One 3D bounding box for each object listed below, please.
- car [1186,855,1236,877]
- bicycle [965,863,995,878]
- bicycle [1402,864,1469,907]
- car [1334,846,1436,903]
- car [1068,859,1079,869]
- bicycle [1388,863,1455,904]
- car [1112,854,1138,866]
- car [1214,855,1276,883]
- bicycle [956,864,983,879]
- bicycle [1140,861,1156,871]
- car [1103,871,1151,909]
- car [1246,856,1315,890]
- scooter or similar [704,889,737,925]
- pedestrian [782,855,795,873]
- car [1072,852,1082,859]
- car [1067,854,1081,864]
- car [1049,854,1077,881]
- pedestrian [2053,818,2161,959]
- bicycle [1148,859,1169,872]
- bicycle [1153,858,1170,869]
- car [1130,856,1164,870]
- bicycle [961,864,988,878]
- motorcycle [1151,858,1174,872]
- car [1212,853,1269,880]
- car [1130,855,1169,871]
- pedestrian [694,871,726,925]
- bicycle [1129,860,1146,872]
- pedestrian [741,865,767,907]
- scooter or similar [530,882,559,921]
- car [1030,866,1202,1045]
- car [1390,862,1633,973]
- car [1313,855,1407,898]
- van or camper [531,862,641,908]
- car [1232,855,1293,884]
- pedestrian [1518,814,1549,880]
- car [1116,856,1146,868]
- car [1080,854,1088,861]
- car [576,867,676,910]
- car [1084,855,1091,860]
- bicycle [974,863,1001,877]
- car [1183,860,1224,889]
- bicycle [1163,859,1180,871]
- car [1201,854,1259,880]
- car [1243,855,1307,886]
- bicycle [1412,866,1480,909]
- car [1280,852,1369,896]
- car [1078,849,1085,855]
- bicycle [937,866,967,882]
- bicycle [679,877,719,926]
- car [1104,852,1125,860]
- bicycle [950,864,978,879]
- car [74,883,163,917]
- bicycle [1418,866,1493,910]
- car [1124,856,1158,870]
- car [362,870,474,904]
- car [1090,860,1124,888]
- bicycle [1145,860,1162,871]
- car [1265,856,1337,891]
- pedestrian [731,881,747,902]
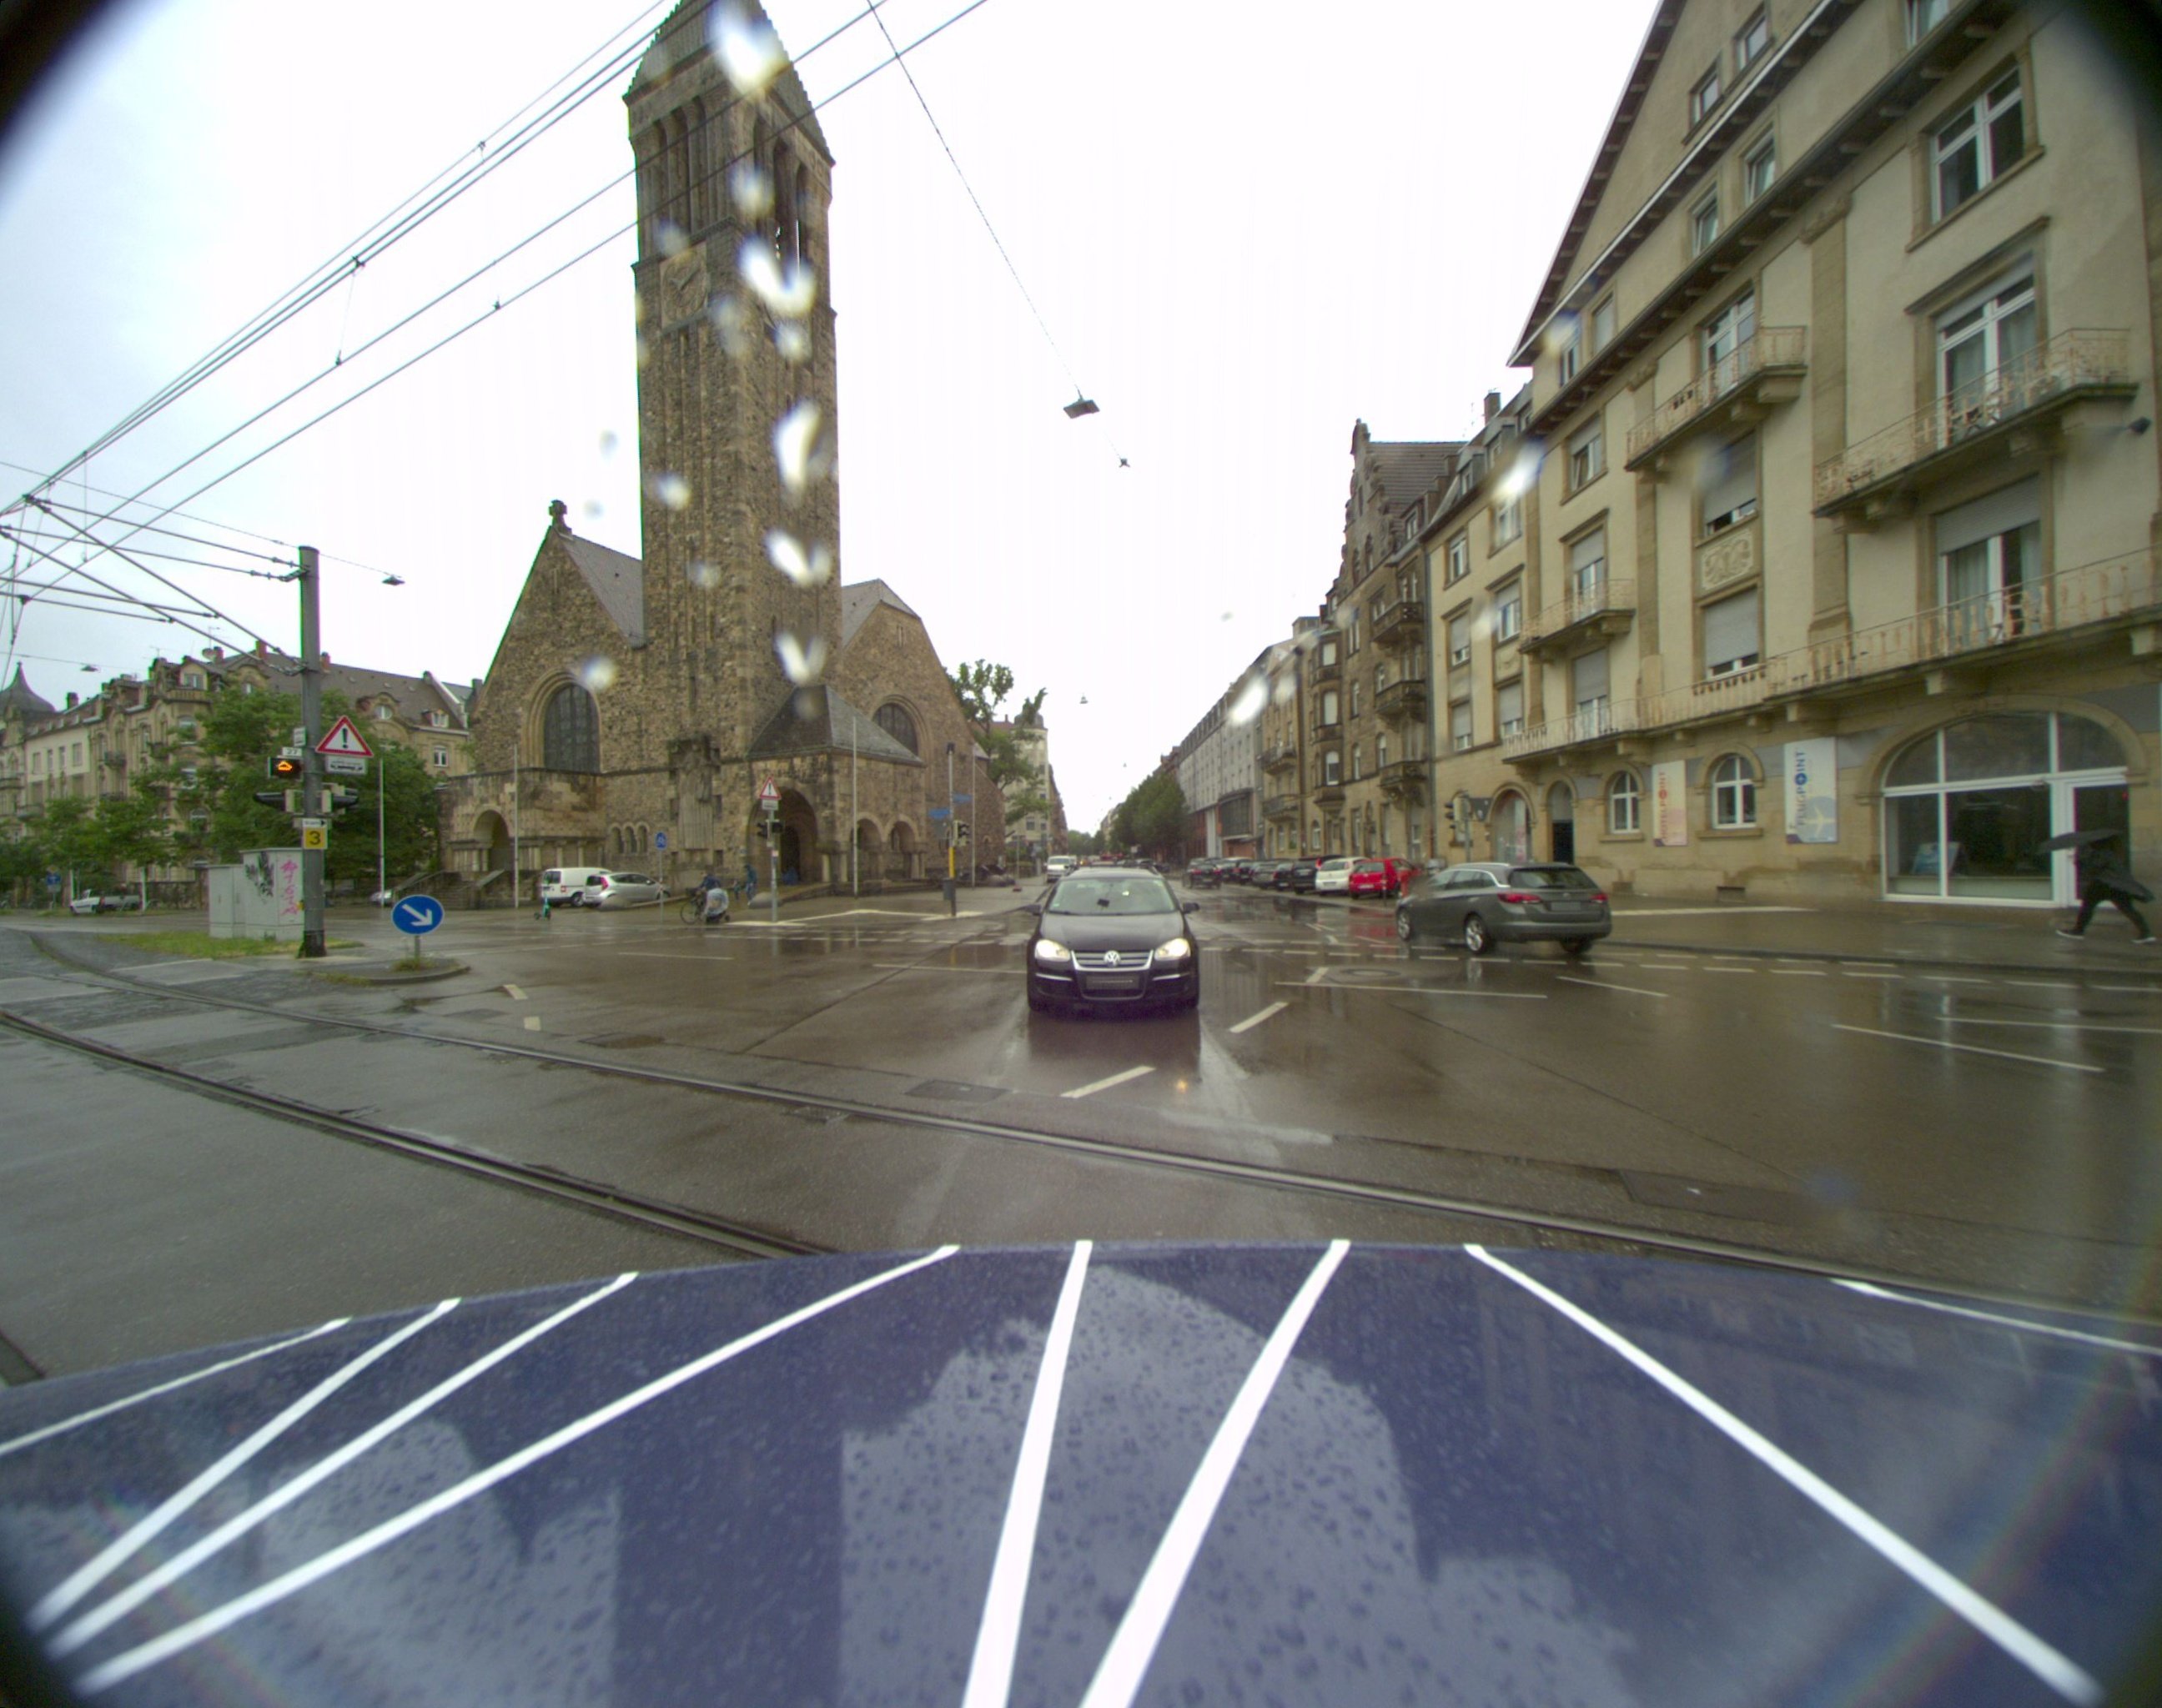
[{"bbox_3d":[10.441,0.938,60.888,3.931,1.719,1.811,-1,0,-41],"label":"car"},{"bbox_3d":[-7.424,1.220,55.862,2.150,1.054,0.679,0,0,22],"label":"bicycle"},{"bbox_3d":[11.282,1.004,24.191,1.815,1.178,0.475,-5,1,-1],"label":"bicycle"},{"bbox_3d":[11.305,0.725,28.148,4.005,1.499,1.800,-8,0,-42],"label":"car"},{"bbox_3d":[-0.973,1.345,102.305,1.356,1.285,3.013,-1,0,0],"label":"car"},{"bbox_3d":[11.233,0.984,25.115,1.814,1.177,0.600,-5,0,6],"label":"bicycle"},{"bbox_3d":[7.492,1.004,129.041,4.006,2.002,1.995,-1,0,-28],"label":"car"},{"bbox_3d":[10.593,0.967,49.098,3.733,1.535,1.774,-3,0,-35],"label":"car"},{"bbox_3d":[-8.006,1.221,54.493,1.923,1.054,0.582,0,0,22],"label":"bicycle"},{"bbox_3d":[7.392,1.274,83.572,1.688,1.066,0.544,-1,1,-3],"label":"bicycle"},{"bbox_3d":[1.610,1.273,27.776,1.547,1.214,3.608,-1,0,0],"label":"car"},{"bbox_3d":[10.489,0.996,39.900,3.435,1.535,1.697,-3,0,-39],"label":"car"},{"bbox_3d":[-11.286,1.655,23.804,0.514,1.042,0.924,-1,0,3],"label":"scooter or similar"},{"bbox_3d":[-15.166,0.516,39.356,0.395,0.879,0.457,-1,0,23],"label":"pedestrian"},{"bbox_3d":[-0.960,0.444,187.688,1.998,1.705,3.803,-1,0,4],"label":"car"},{"bbox_3d":[-0.994,0.683,110.265,1.921,1.470,4.220,-1,0,0],"label":"car"},{"bbox_3d":[-1.329,0.984,57.833,1.909,1.911,5.272,-1,0,0],"label":"car"},{"bbox_3d":[15.094,0.472,11.107,0.921,1.955,0.699,-3,3,-11],"label":"pedestrian"},{"bbox_3d":[8.035,1.181,78.847,2.049,1.165,0.773,-4,1,-3],"label":"bicycle"},{"bbox_3d":[8.560,1.008,80.569,1.688,1.066,0.544,-1,0,-3],"label":"bicycle"},{"bbox_3d":[8.049,1.107,92.692,3.803,1.705,1.998,-1,0,-10],"label":"car"},{"bbox_3d":[-7.766,1.233,55.260,1.923,1.054,0.582,0,0,22],"label":"bicycle"},{"bbox_3d":[8.347,1.118,77.879,2.255,1.302,0.758,-3,0,0],"label":"motorcycle"},{"bbox_3d":[11.029,0.879,52.358,3.734,1.617,1.774,-3,0,-38],"label":"car"},{"bbox_3d":[7.922,1.005,87.975,4.005,1.804,1.996,-1,0,-26],"label":"car"},{"bbox_3d":[-11.714,1.372,24.021,0.604,1.653,0.689,-1,0,3],"label":"pedestrian"},{"bbox_3d":[6.060,1.298,81.317,1.688,1.067,0.544,-6,1,-3],"label":"bicycle"},{"bbox_3d":[-13.356,1.290,31.027,0.632,1.693,0.679,-1,0,21],"label":"pedestrian"},{"bbox_3d":[-19.547,1.719,27.694,1.101,1.379,0.287,-1,0,23],"label":"scooter or similar"},{"bbox_3d":[0.329,0.953,8.932,1.547,1.553,4.070,-1,0,0],"label":"car"},{"bbox_3d":[7.099,0.931,13.126,1.731,1.537,4.340,-1,0,0],"label":"car"},{"bbox_3d":[11.395,0.883,30.906,4.001,1.524,1.700,-2,-1,-39],"label":"car"},{"bbox_3d":[-23.203,1.417,35.787,1.645,1.719,3.934,-1,4,24],"label":"van or camper"},{"bbox_3d":[11.025,0.935,46.103,3.765,1.535,1.624,-3,0,-40],"label":"car"},{"bbox_3d":[16.202,-0.242,27.221,0.846,2.326,0.765,-1,0,23],"label":"pedestrian"},{"bbox_3d":[7.148,1.160,108.660,3.803,1.705,1.998,-1,0,-10],"label":"car"},{"bbox_3d":[0.786,0.978,209.134,1.998,1.705,4.376,-1,0,4],"label":"car"},{"bbox_3d":[-20.338,1.493,34.097,1.732,1.565,3.362,-1,3,27],"label":"car"},{"bbox_3d":[1.953,1.028,223.657,1.998,1.705,4.376,-1,0,4],"label":"car"},{"bbox_3d":[-6.988,1.199,56.748,1.978,1.060,0.607,0,0,23],"label":"bicycle"},{"bbox_3d":[6.951,1.158,43.505,1.748,1.537,3.778,-1,0,0],"label":"car"},{"bbox_3d":[9.486,1.153,79.802,1.688,1.067,0.544,-4,1,-3],"label":"bicycle"},{"bbox_3d":[10.846,0.917,55.172,3.732,1.519,1.897,-5,2,-30],"label":"car"},{"bbox_3d":[11.074,0.948,43.226,3.449,1.535,1.624,-3,0,-36],"label":"car"},{"bbox_3d":[11.337,1.038,23.637,1.815,1.178,0.468,-5,1,-2],"label":"bicycle"},{"bbox_3d":[10.893,0.866,33.905,4.092,1.682,1.760,-3,0,-39],"label":"car"},{"bbox_3d":[0.085,-0.600,232.163,1.837,1.827,4.001,-1,0,4],"label":"car"},{"bbox_3d":[-8.994,1.384,52.906,2.005,1.043,0.577,0,0,17],"label":"bicycle"},{"bbox_3d":[-12.140,1.475,24.198,0.533,1.458,1.938,-1,0,-9],"label":"bicycle"},{"bbox_3d":[6.972,0.409,156.800,3.809,1.705,1.995,-1,0,-33],"label":"car"},{"bbox_3d":[-8.299,1.222,53.904,1.924,1.054,0.582,0,0,19],"label":"bicycle"},{"bbox_3d":[-54.579,2.567,43.081,3.991,1.783,1.983,-1,0,21],"label":"car"},{"bbox_3d":[11.338,1.021,23.032,1.985,1.178,0.475,-5,1,-3],"label":"bicycle"},{"bbox_3d":[7.528,1.141,95.766,3.803,1.705,1.998,-1,0,-10],"label":"car"},{"bbox_3d":[-35.446,1.722,40.738,1.995,1.608,4.007,-1,0,24],"label":"car"},{"bbox_3d":[1.413,1.077,42.469,1.766,1.430,3.748,-1,0,0],"label":"car"},{"bbox_3d":[7.630,1.238,79.808,1.688,1.067,0.544,-4,1,-3],"label":"bicycle"},{"bbox_3d":[10.748,0.944,37.076,3.316,1.516,1.697,-3,0,-38],"label":"car"},{"bbox_3d":[-14.618,1.600,32.488,0.455,0.879,0.397,-1,0,21],"label":"pedestrian"}]
